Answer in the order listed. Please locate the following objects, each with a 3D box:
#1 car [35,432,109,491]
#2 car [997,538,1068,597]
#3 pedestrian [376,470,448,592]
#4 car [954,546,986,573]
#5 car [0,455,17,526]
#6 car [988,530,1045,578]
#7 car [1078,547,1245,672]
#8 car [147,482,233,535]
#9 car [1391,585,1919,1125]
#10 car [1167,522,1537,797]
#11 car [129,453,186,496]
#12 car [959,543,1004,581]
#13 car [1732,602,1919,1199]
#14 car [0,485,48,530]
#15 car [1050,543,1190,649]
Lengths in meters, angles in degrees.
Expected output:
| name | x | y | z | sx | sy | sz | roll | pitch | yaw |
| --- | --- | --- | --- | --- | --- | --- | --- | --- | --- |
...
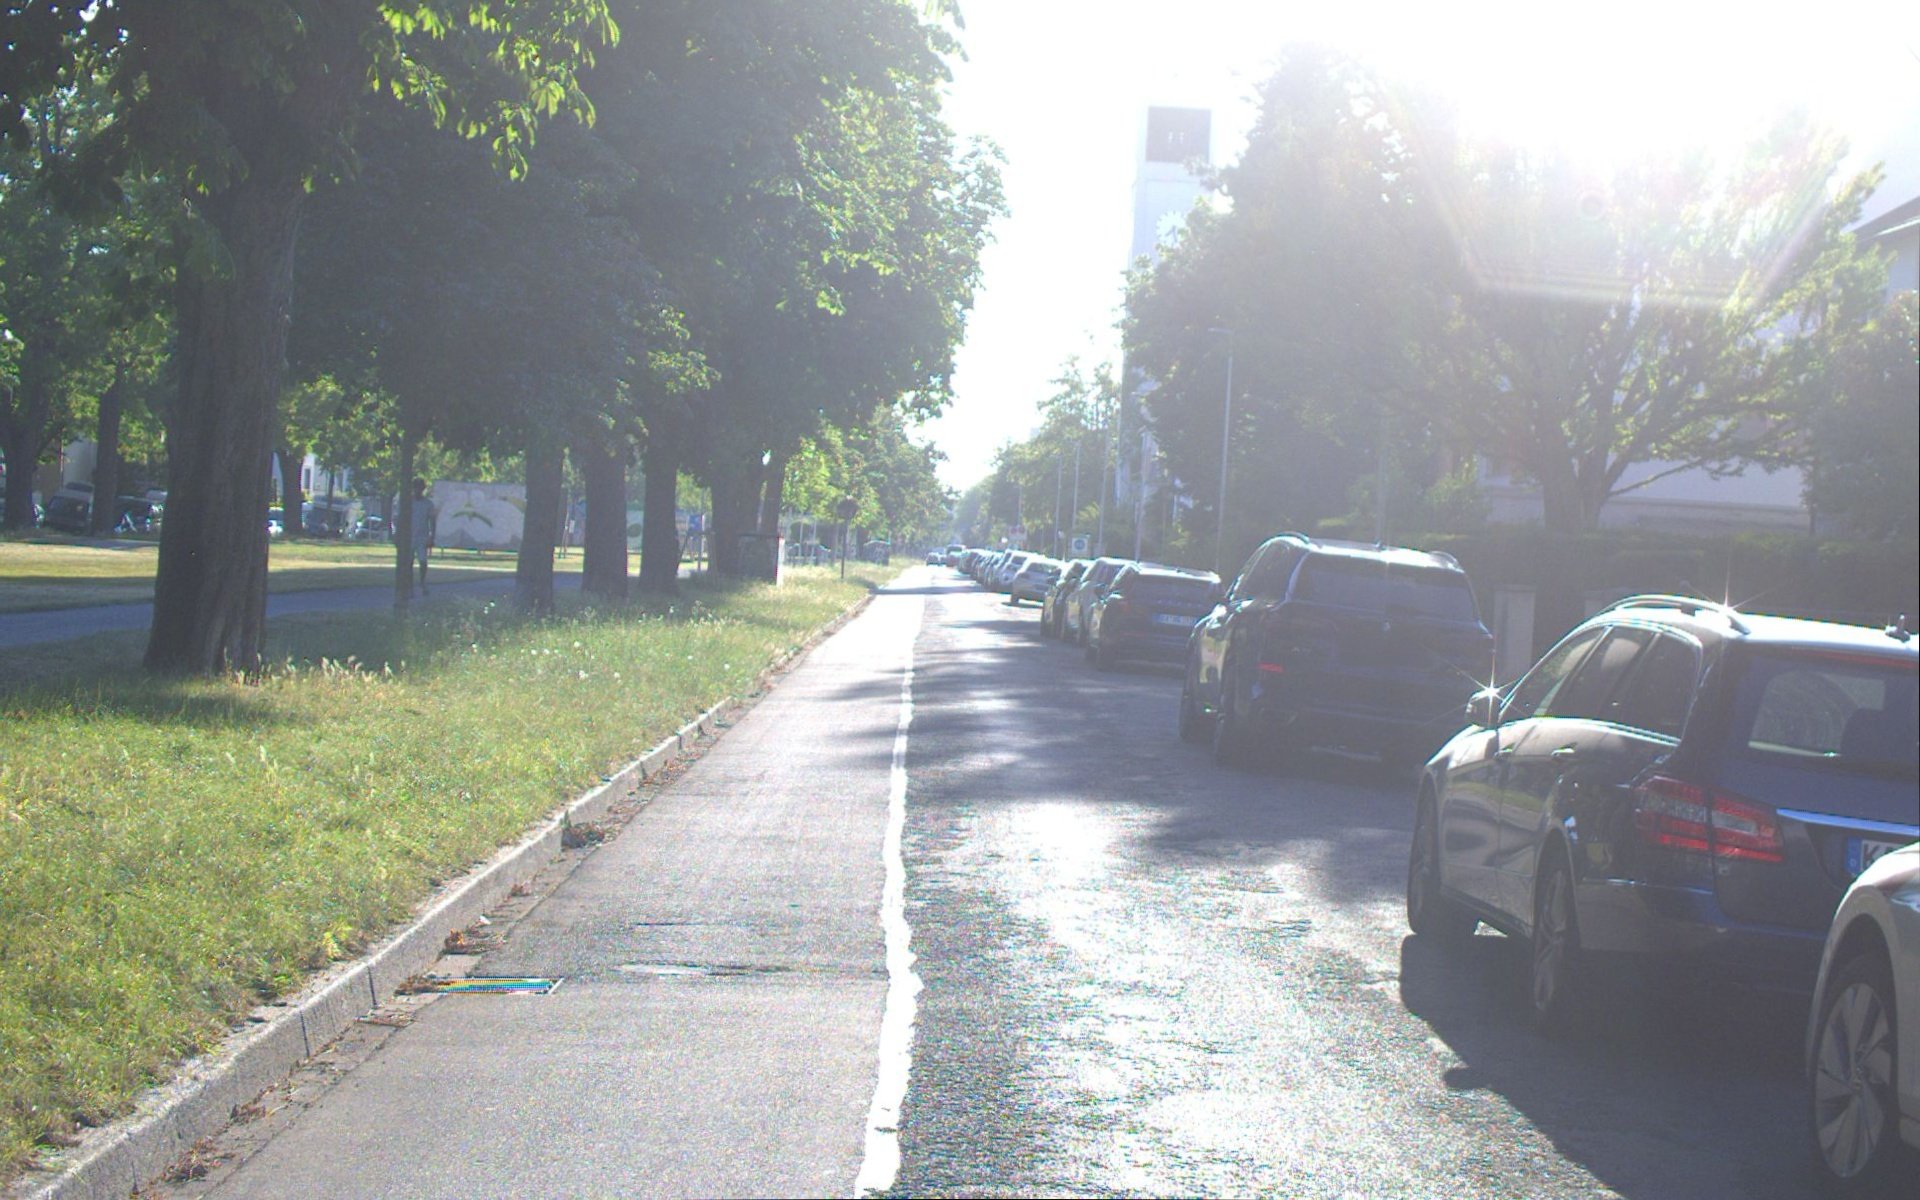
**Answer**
| name | x | y | z | sx | sy | sz | roll | pitch | yaw |
| --- | --- | --- | --- | --- | --- | --- | --- | --- | --- |
| car | -35.121 | -5.455 | 136.082 | 1.685 | 2.168 | 4.314 | 3 | 1 | 0 |
| car | 2.072 | -0.956 | 99.021 | 1.757 | 1.415 | 4.072 | 9 | 1 | 0 |
| pedestrian | -8.078 | -1.016 | 50.711 | 0.724 | 1.752 | 0.993 | 3 | 1 | 6 |
| car | 0.650 | -2.658 | 224.195 | 1.980 | 1.677 | 4.000 | 3 | 1 | 1 |
| car | -40.986 | -4.559 | 142.012 | 2.437 | 2.912 | 5.818 | 1 | 0 | 0 |
| car | 1.973 | -1.647 | 122.112 | 1.758 | 1.599 | 4.359 | 3 | 1 | -2 |
| car | 2.654 | 0.093 | 46.210 | 1.793 | 1.487 | 4.675 | 4 | 1 | -1 |
| car | -34.603 | -4.130 | 154.659 | 2.534 | 2.228 | 5.459 | 2 | 1 | 0 |
| car | 2.851 | 0.793 | 12.551 | 1.780 | 1.458 | 4.594 | 6 | 1 | -1 |
| car | 2.909 | 0.374 | 26.658 | 1.993 | 1.731 | 4.864 | 6 | 1 | -2 |
| car | -41.894 | -6.550 | 179.557 | 1.993 | 2.007 | 4.485 | 0 | -1 | -1 |
| car | 0.943 | -1.698 | 152.901 | 1.761 | 1.516 | 4.000 | 5 | 1 | -2 |
| car | 3.223 | 0.884 | 6.854 | 1.993 | 1.459 | 4.551 | 6 | 1 | -3 |
| car | -34.814 | -3.403 | 125.775 | 1.685 | 1.554 | 4.314 | 3 | 1 | 0 |
| car | 2.604 | -0.093 | 56.778 | 1.691 | 1.478 | 3.930 | 7 | 1 | -4 |
